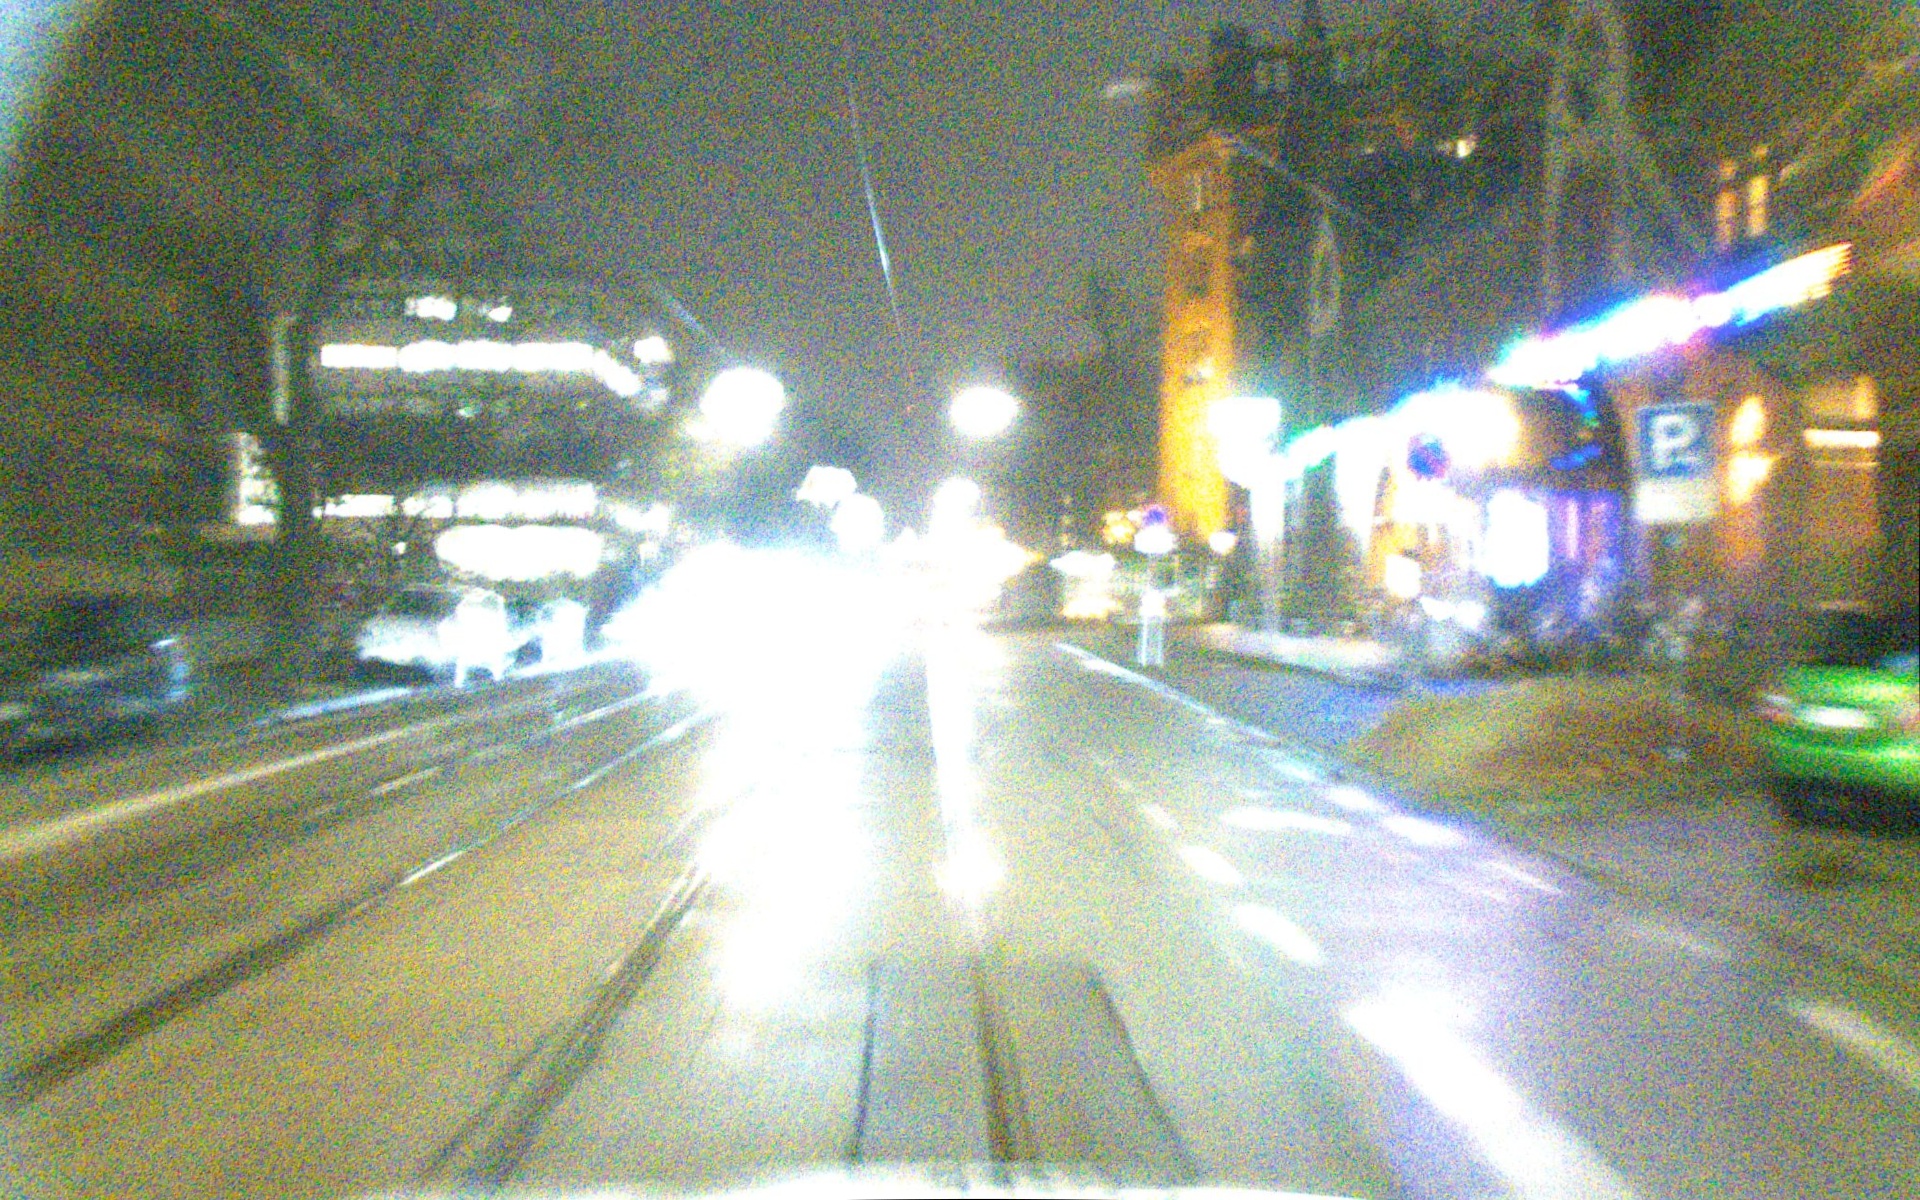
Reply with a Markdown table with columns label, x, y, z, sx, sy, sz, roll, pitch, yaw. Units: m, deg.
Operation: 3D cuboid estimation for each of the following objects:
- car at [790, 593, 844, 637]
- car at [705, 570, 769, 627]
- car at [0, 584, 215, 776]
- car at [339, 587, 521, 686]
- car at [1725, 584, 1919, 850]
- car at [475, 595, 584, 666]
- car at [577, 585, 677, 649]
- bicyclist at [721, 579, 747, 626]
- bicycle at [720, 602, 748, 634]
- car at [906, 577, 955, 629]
| label | x | y | z | sx | sy | sz | roll | pitch | yaw |
| --- | --- | --- | --- | --- | --- | --- | --- | --- | --- |
| car | -5.288 | 0.527 | 61.482 | 1.740 | 1.544 | 4.050 | 0 | 1 | -1 |
| car | -10.677 | -0.119 | 79.656 | 2.140 | 2.637 | 6.392 | 0 | 1 | 1 |
| car | -9.179 | 0.673 | 16.319 | 1.843 | 1.572 | 4.396 | 3 | 0 | -4 |
| car | -9.528 | 0.623 | 30.133 | 1.943 | 1.660 | 4.515 | 0 | 0 | -2 |
| car | 7.272 | 0.694 | 10.971 | 4.044 | 1.564 | 1.943 | 0 | 0 | -27 |
| car | -9.577 | 0.629 | 37.039 | 1.657 | 1.446 | 3.911 | -1 | 1 | -4 |
| car | -9.661 | 0.477 | 48.281 | 1.929 | 1.684 | 4.601 | 2 | 0 | 0 |
| bicyclist | -8.238 | 0.099 | 60.284 | 0.767 | 1.684 | 1.206 | -2 | 0 | -1 |
| bicycle | -8.219 | 0.646 | 60.279 | 0.766 | 1.101 | 1.918 | -2 | 0 | -1 |
| car | -1.444 | 0.130 | 79.330 | 2.199 | 2.402 | 4.391 | 0 | 0 | -3 |
